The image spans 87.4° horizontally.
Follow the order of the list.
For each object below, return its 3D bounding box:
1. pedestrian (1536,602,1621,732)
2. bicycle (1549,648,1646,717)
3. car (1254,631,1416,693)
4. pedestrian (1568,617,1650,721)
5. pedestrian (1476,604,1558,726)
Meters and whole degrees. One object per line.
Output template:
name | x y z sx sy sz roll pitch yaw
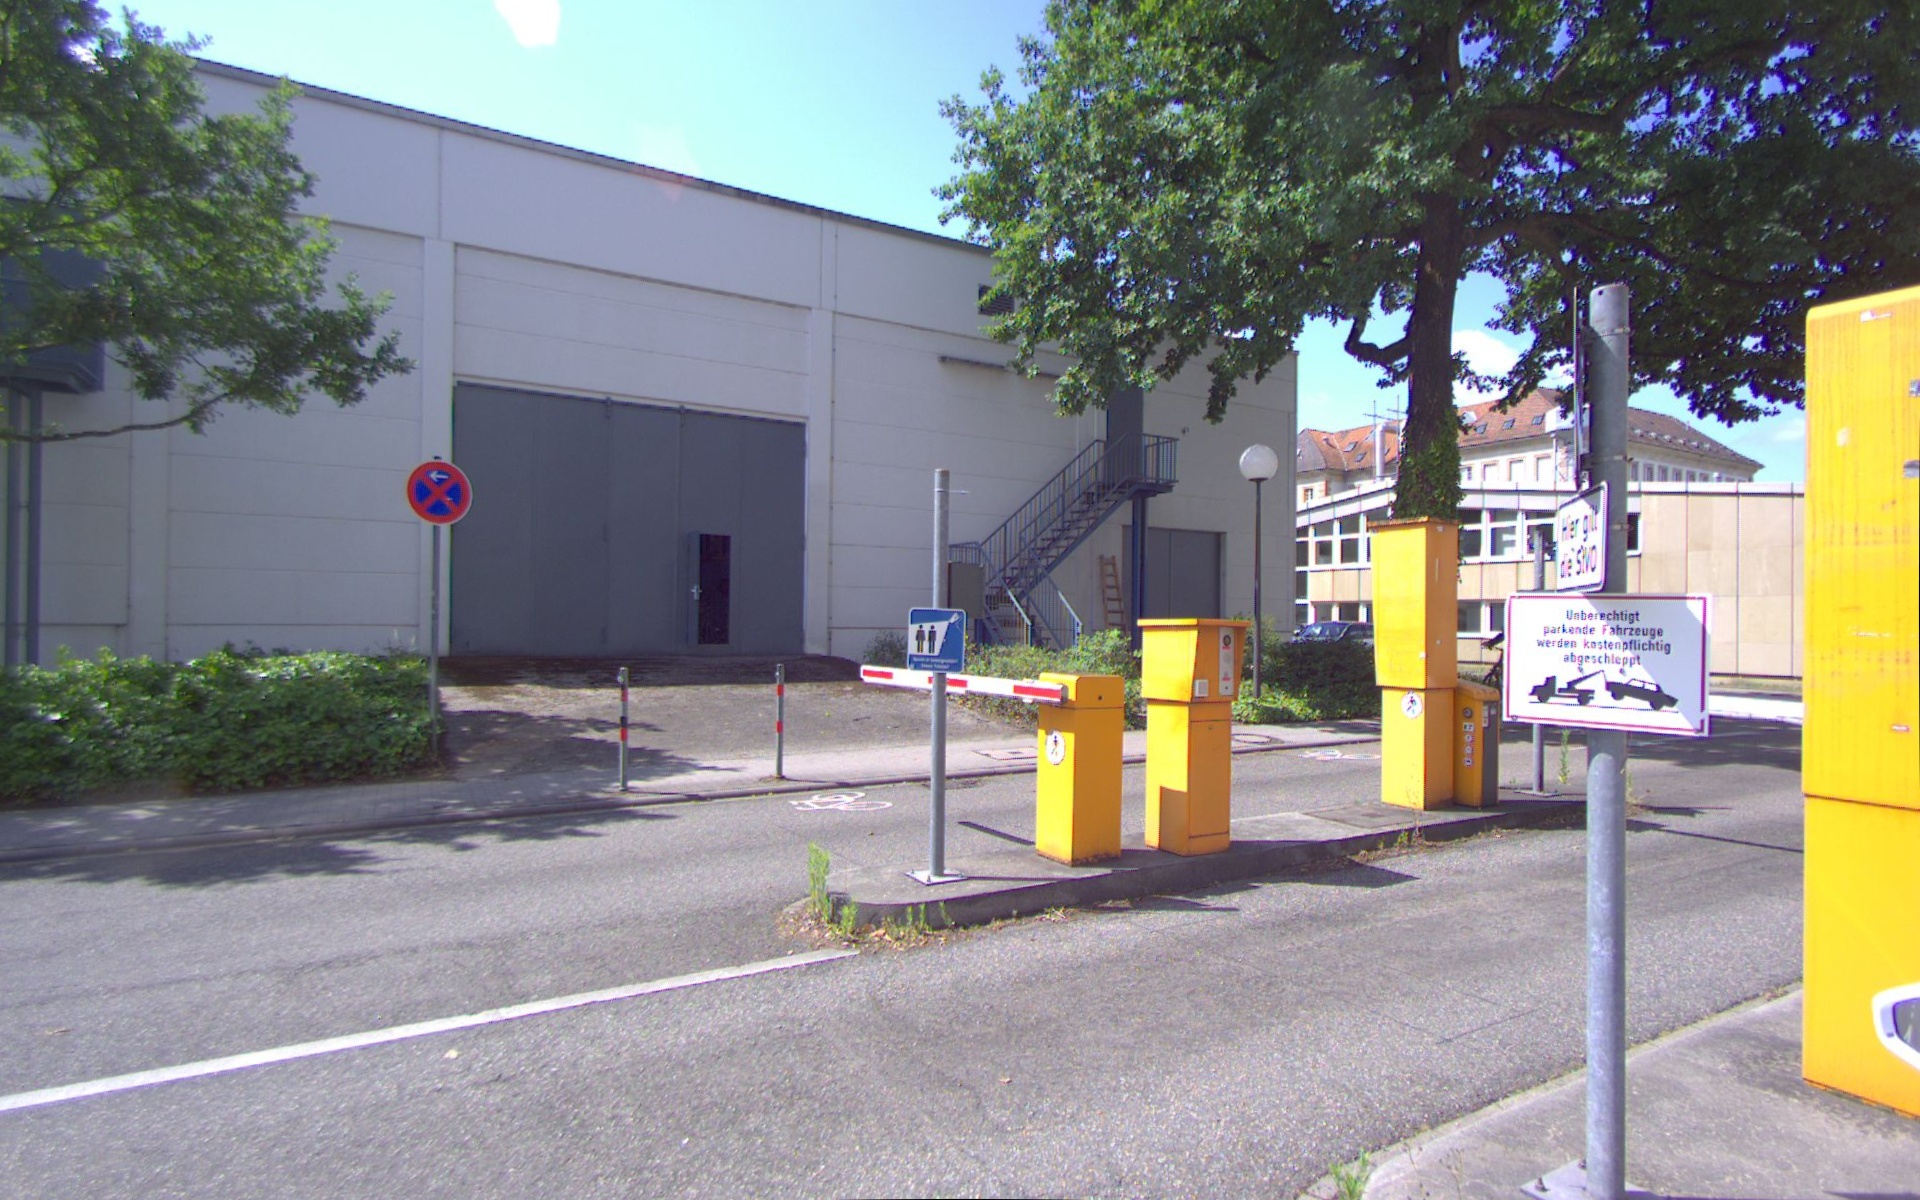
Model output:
pedestrian | 9.113 0.963 14.802 0.990 1.833 0.701 1 -1 -32
bicycle | 10.822 1.375 17.036 1.879 1.063 0.642 1 -1 -32
car | 9.995 1.594 26.684 4.251 1.486 1.819 1 -1 -32
pedestrian | 10.455 1.086 16.200 0.796 1.607 0.850 1 -1 -31
pedestrian | 8.740 0.987 15.751 1.042 1.840 0.803 -1 -1 35
